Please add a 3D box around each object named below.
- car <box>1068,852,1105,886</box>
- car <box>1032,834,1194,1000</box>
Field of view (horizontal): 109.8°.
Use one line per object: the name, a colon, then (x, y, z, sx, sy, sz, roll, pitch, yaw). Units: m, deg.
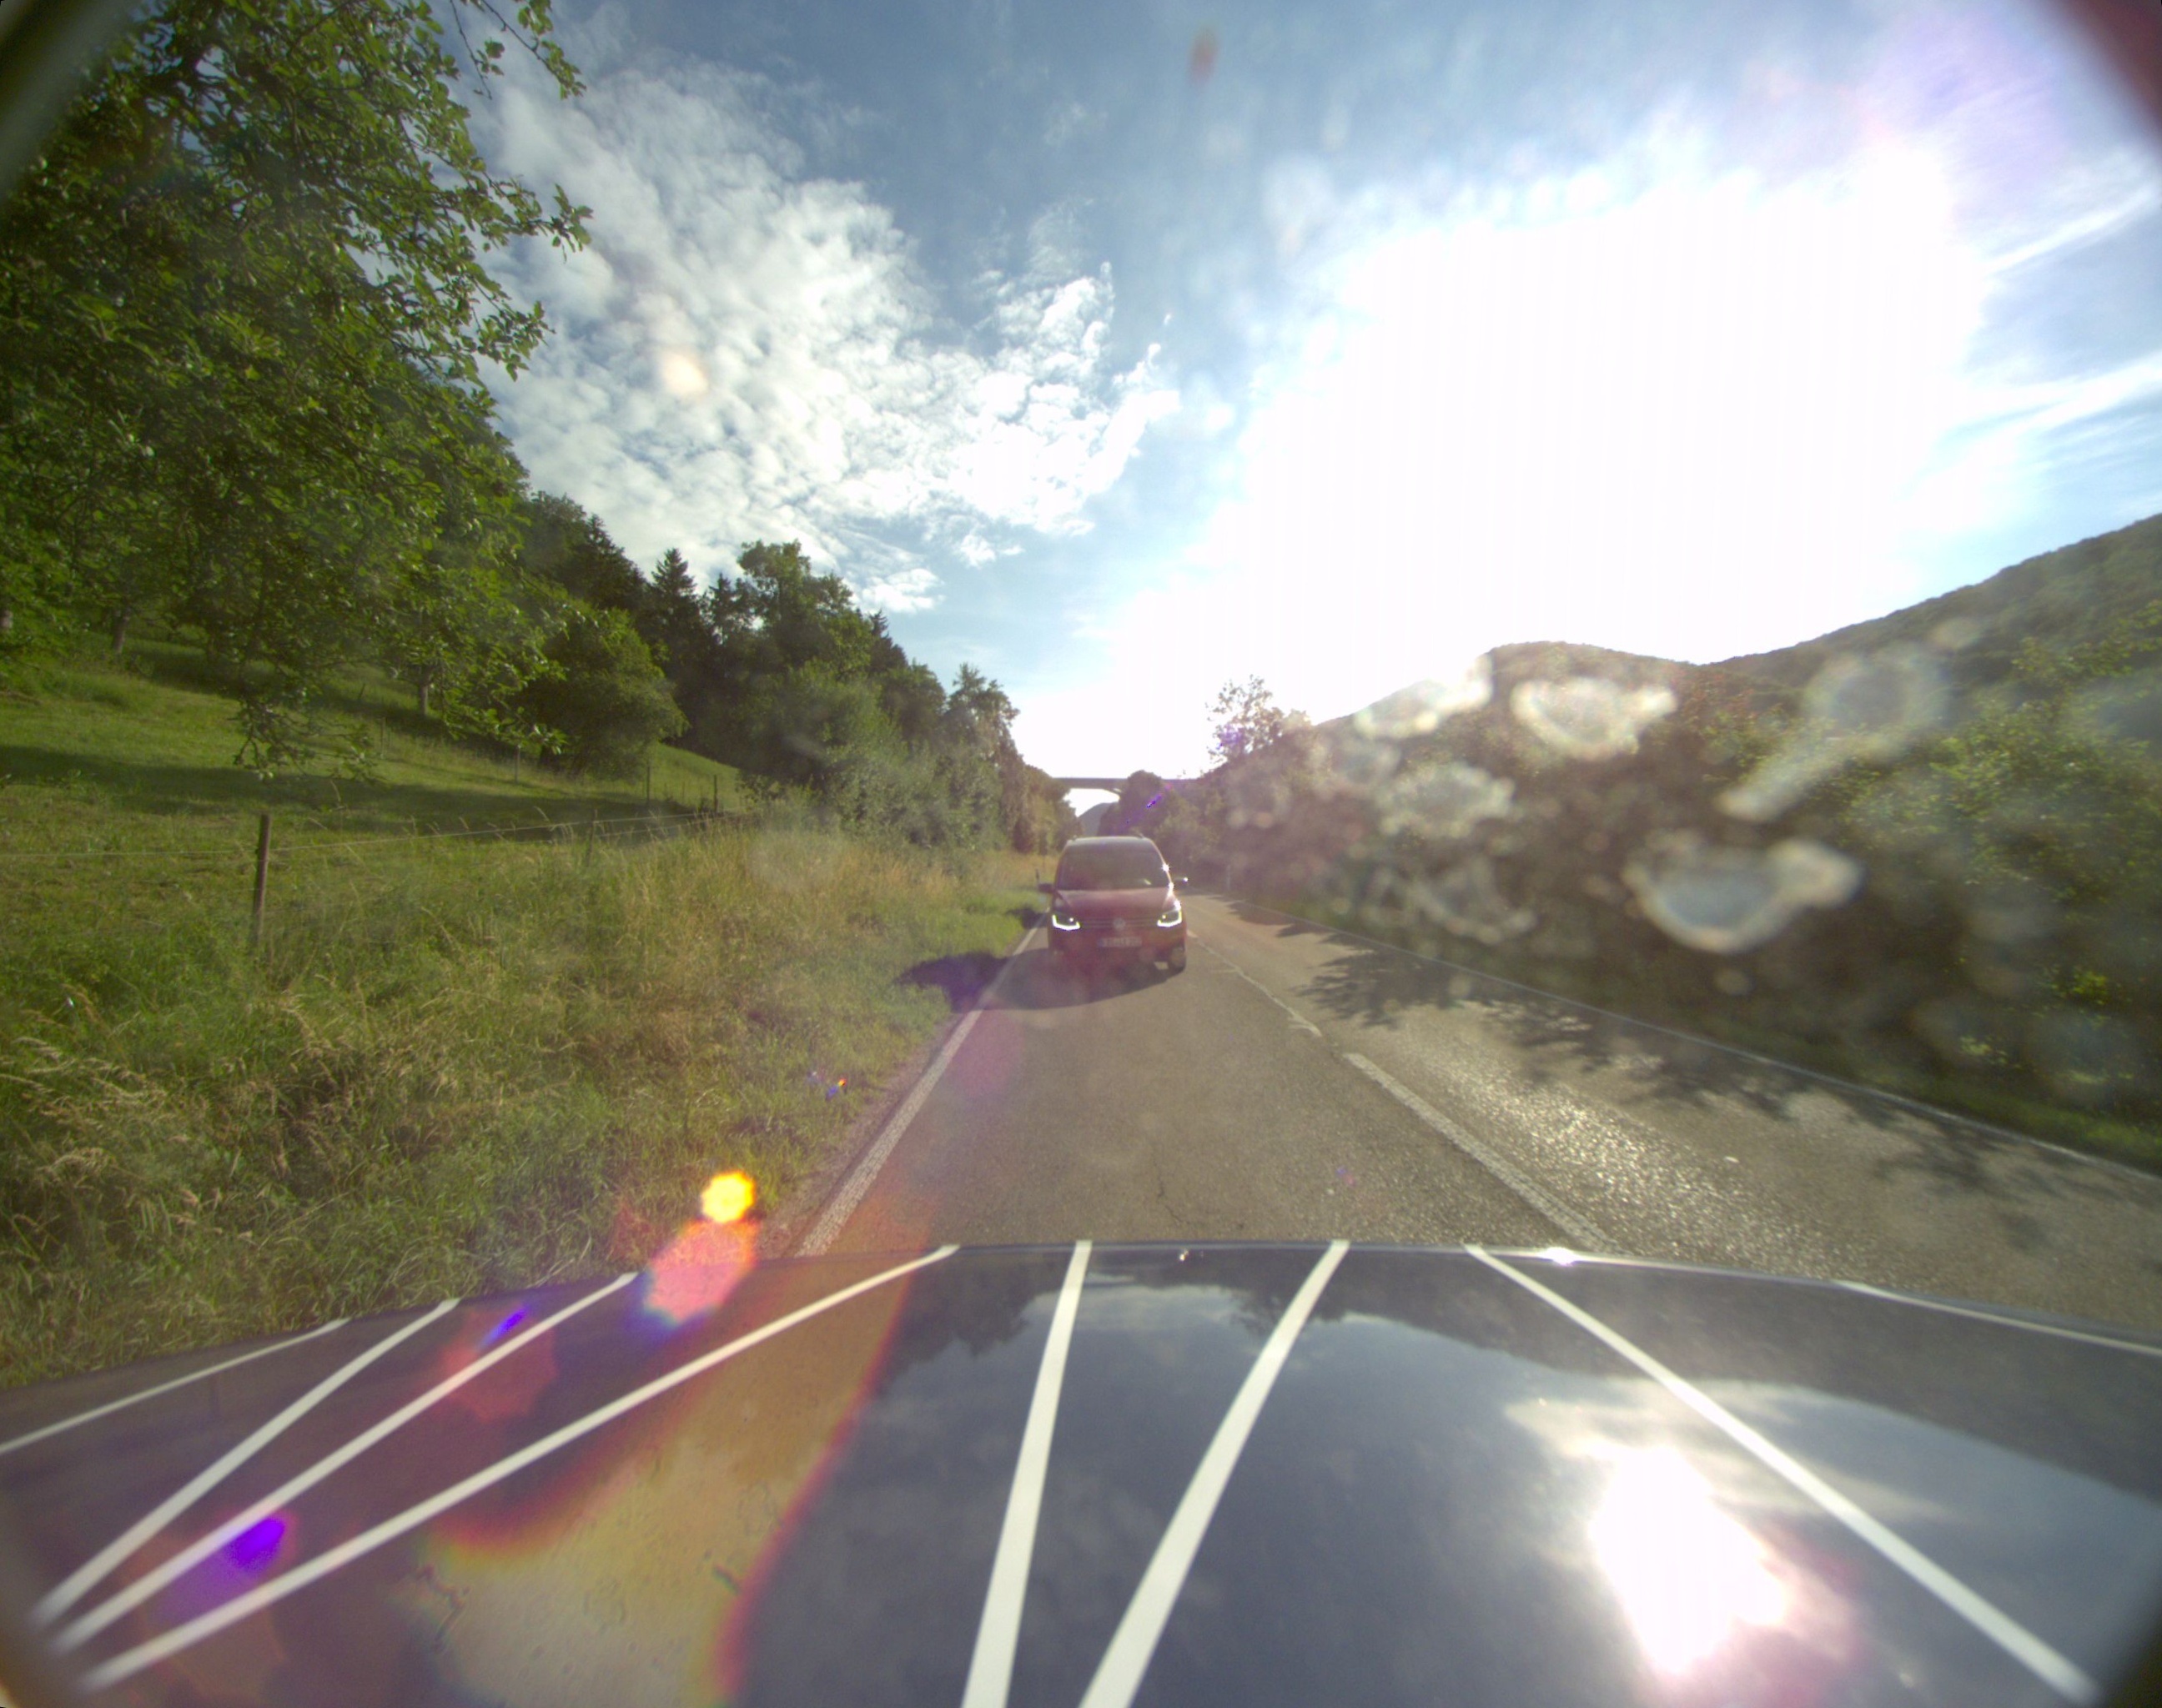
car: (0.306, 0.735, 40.043, 1.753, 1.608, 4.288, -3, 1, 1)
car: (0.387, 0.693, 10.726, 1.753, 1.800, 4.288, -3, 1, 1)
